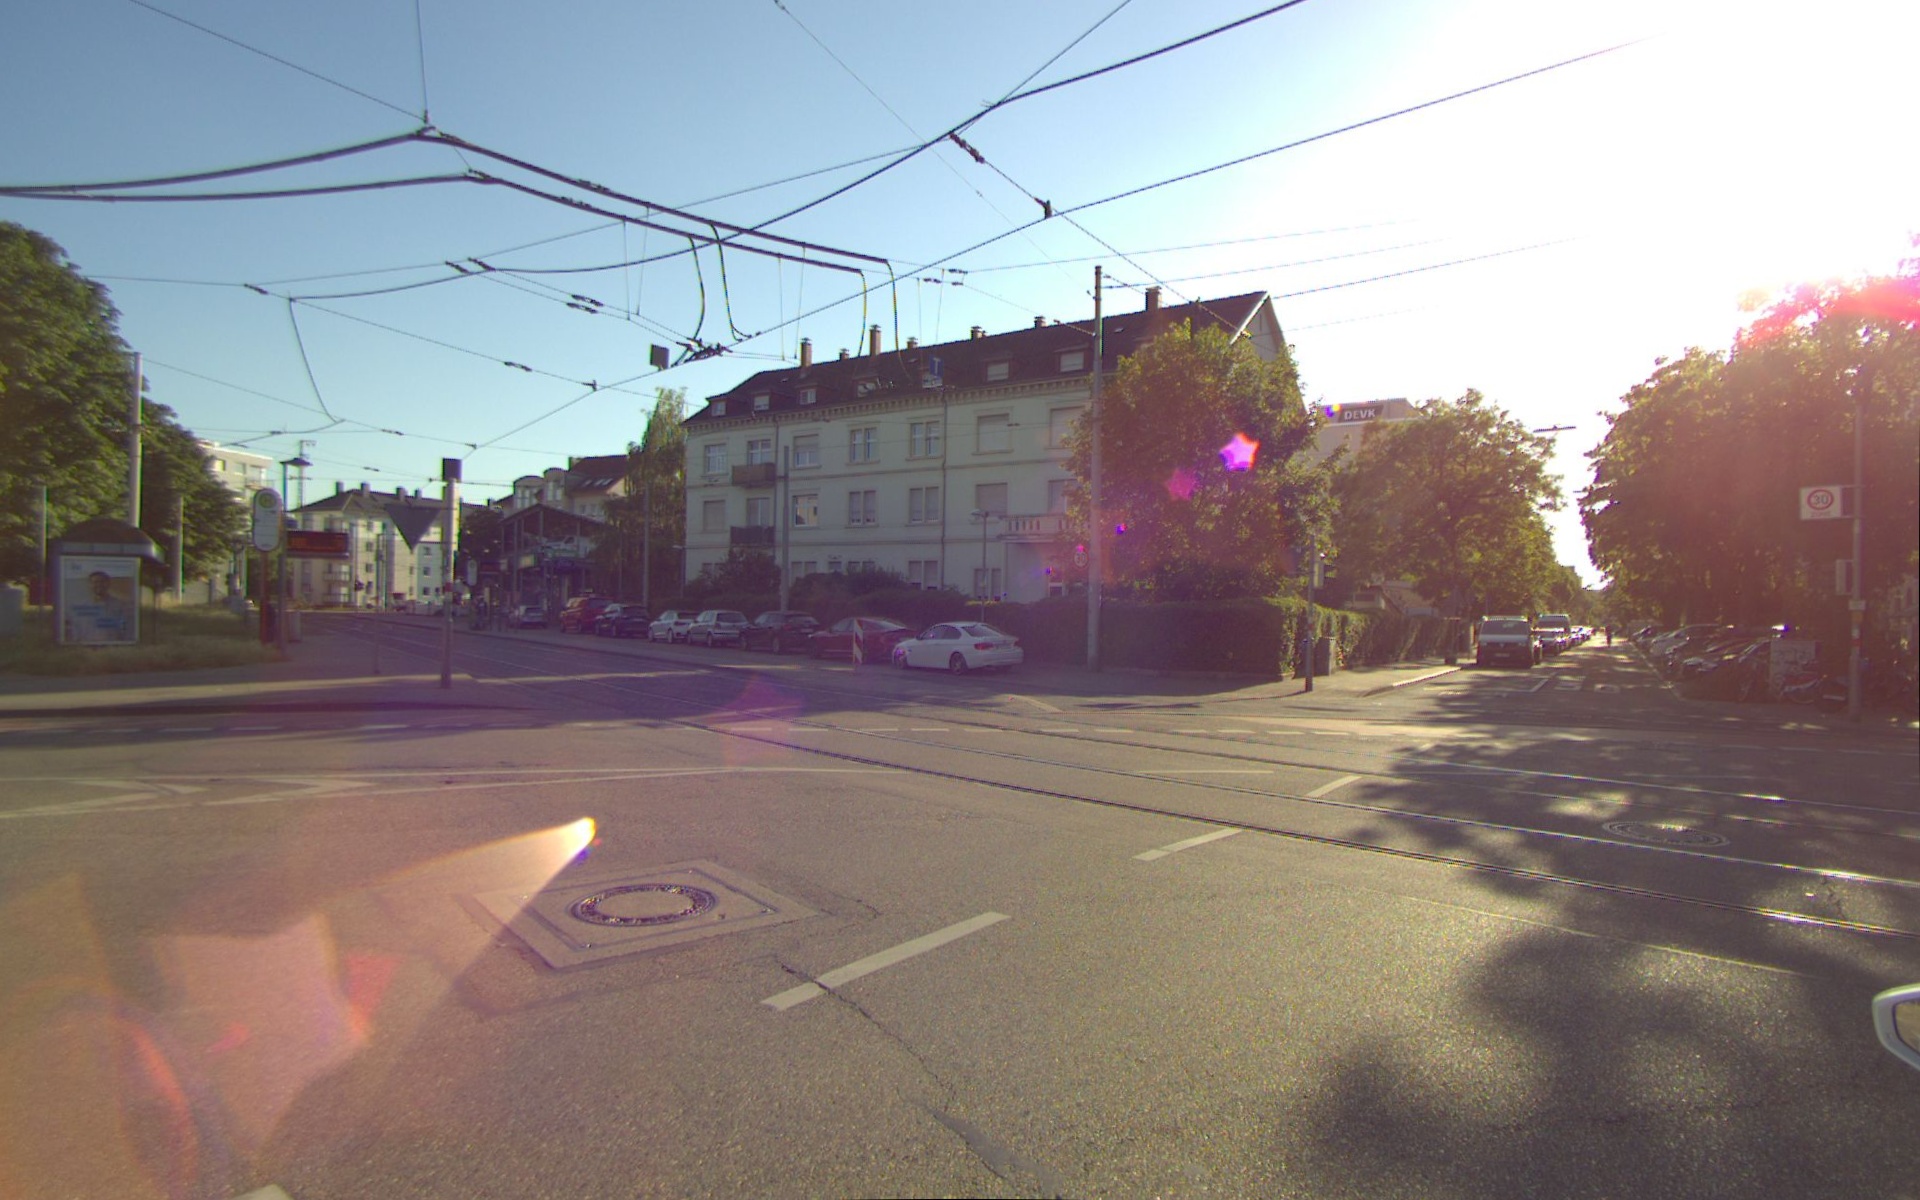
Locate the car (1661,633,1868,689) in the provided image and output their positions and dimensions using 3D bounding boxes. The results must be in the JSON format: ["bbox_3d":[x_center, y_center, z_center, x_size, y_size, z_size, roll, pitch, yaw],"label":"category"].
[{"bbox_3d":[26.416,1.995,33.274,5.016,1.577,2.358,1,-3,31],"label":"car"}]

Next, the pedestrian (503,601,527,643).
[{"bbox_3d":[-21.636,1.076,48.833,0.914,2.040,0.762,2,-1,-32],"label":"pedestrian"}]

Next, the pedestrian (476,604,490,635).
[{"bbox_3d":[-23.839,0.979,50.182,0.560,1.520,0.674,1,-1,-25],"label":"pedestrian"}]

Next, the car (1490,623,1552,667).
[{"bbox_3d":[25.554,2.006,45.755,2.320,1.818,5.300,1,-1,30],"label":"car"}]

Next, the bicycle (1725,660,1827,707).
[{"bbox_3d":[18.212,1.850,22.472,1.699,0.945,0.670,1,-1,33],"label":"bicycle"}]

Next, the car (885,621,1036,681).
[{"bbox_3d":[-0.076,1.363,28.133,1.913,1.395,4.447,-1,1,-38],"label":"car"}]

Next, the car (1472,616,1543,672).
[{"bbox_3d":[22.160,1.739,40.580,2.320,2.040,5.300,1,-1,30],"label":"car"}]

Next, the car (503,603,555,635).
[{"bbox_3d":[-28.846,1.216,67.144,2.037,1.988,5.097,-1,1,-37],"label":"car"}]

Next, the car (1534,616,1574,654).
[{"bbox_3d":[42.343,2.454,71.708,2.320,2.548,5.300,1,-1,30],"label":"car"}]

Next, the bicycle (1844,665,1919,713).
[{"bbox_3d":[20.114,1.904,21.519,1.699,0.945,0.560,1,-1,33],"label":"bicycle"}]

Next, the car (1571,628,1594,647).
[{"bbox_3d":[66.564,4.023,107.447,1.965,1.711,3.992,5,-1,31],"label":"car"}]

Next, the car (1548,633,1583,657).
[{"bbox_3d":[51.209,3.770,84.871,2.322,1.818,5.295,1,-1,33],"label":"car"}]

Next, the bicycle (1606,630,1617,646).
[{"bbox_3d":[57.990,3.370,89.443,0.755,1.341,1.919,5,-1,33],"label":"bicycle"}]

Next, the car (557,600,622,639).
[{"bbox_3d":[-20.577,1.015,55.616,2.037,1.988,5.097,-1,1,-37],"label":"car"}]

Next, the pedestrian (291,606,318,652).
[{"bbox_3d":[-20.984,0.932,32.148,0.594,1.446,0.499,2,-1,-45],"label":"pedestrian"}]

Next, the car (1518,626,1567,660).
[{"bbox_3d":[33.817,2.442,58.359,2.320,1.818,5.300,1,-1,30],"label":"car"}]

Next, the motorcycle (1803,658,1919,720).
[{"bbox_3d":[18.203,1.758,20.076,1.922,1.124,0.836,1,-1,28],"label":"motorcycle"}]

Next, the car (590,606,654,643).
[{"bbox_3d":[-16.975,1.192,50.334,1.828,1.690,4.324,-1,1,-37],"label":"car"}]

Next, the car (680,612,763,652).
[{"bbox_3d":[-9.654,1.255,40.519,1.968,1.467,3.680,-1,1,-37],"label":"car"}]

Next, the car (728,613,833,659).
[{"bbox_3d":[-6.702,1.271,37.078,1.968,1.467,4.656,-1,1,-37],"label":"car"}]

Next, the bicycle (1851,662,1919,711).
[{"bbox_3d":[19.709,1.812,20.870,1.699,0.945,0.560,1,-1,33],"label":"bicycle"}]

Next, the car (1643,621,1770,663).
[{"bbox_3d":[38.594,2.163,52.110,5.016,1.949,2.358,1,-3,31],"label":"car"}]

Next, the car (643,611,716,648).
[{"bbox_3d":[-12.374,1.274,44.192,1.828,1.467,3.917,-1,1,-37],"label":"car"}]

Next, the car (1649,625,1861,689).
[{"bbox_3d":[27.813,1.969,35.450,5.538,1.949,2.358,1,-3,31],"label":"car"}]

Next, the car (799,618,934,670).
[{"bbox_3d":[-3.080,1.355,32.328,1.972,1.395,4.648,-1,1,-41],"label":"car"}]
